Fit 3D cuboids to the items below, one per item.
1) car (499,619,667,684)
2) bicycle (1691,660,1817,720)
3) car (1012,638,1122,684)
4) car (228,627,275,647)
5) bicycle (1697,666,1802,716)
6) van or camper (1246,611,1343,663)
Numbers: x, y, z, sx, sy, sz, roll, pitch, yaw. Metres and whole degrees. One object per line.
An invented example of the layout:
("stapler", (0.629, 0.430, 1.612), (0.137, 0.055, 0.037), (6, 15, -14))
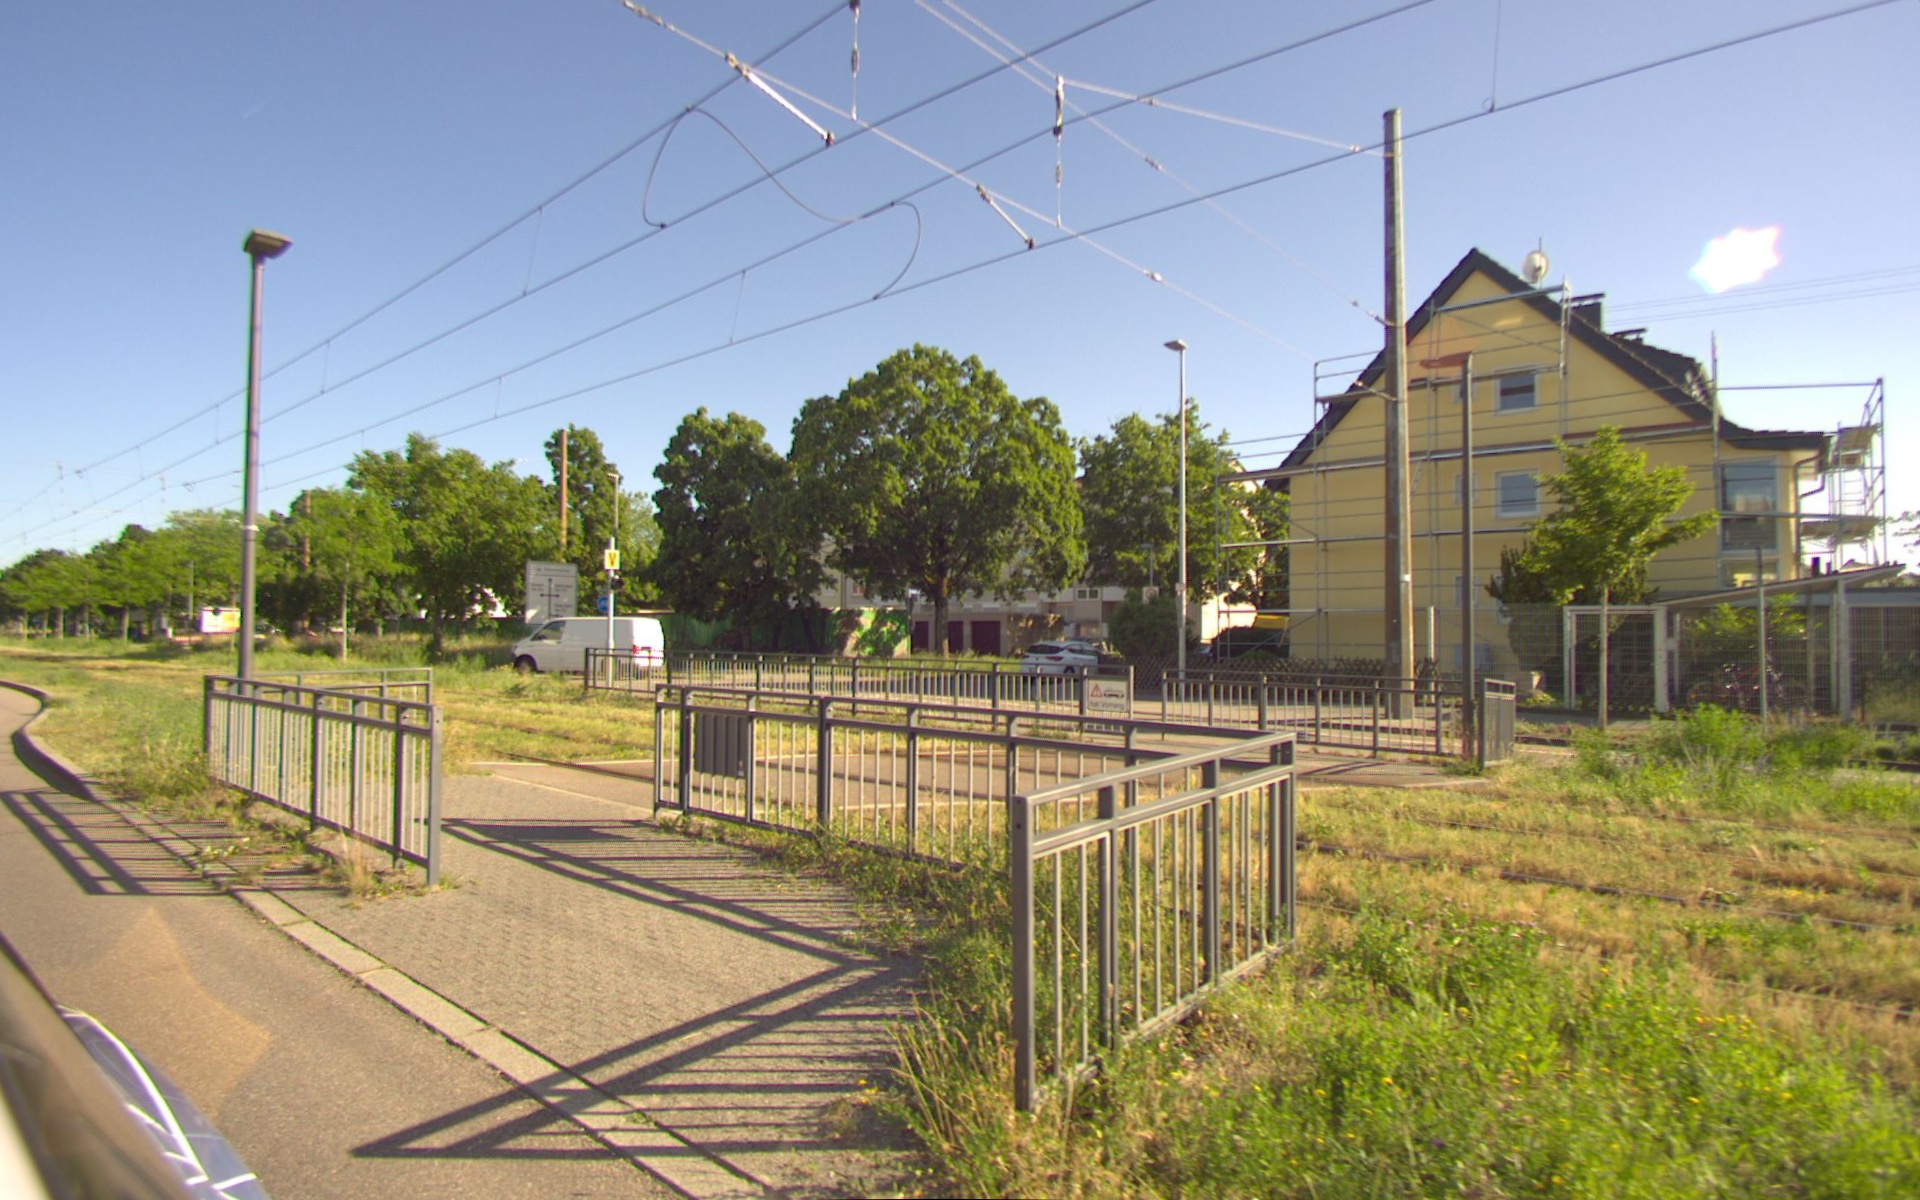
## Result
("car", (-11.806, 1.592, 31.818), (4.650, 1.929, 1.897), (0, -2, 10))
("bicycle", (14.146, 1.579, 18.061), (1.748, 0.949, 0.419), (-1, 0, 41))
("car", (3.717, 2.049, 34.692), (1.852, 1.414, 3.946), (2, -1, 40))
("car", (-69.458, 3.663, 99.351), (1.868, 1.925, 4.820), (0, -2, -9))
("bicycle", (14.530, 1.665, 18.644), (1.508, 0.827, 0.307), (-1, 0, 41))
("van or camper", (16.541, 1.737, 49.734), (2.109, 2.367, 7.161), (-1, -1, 39))
